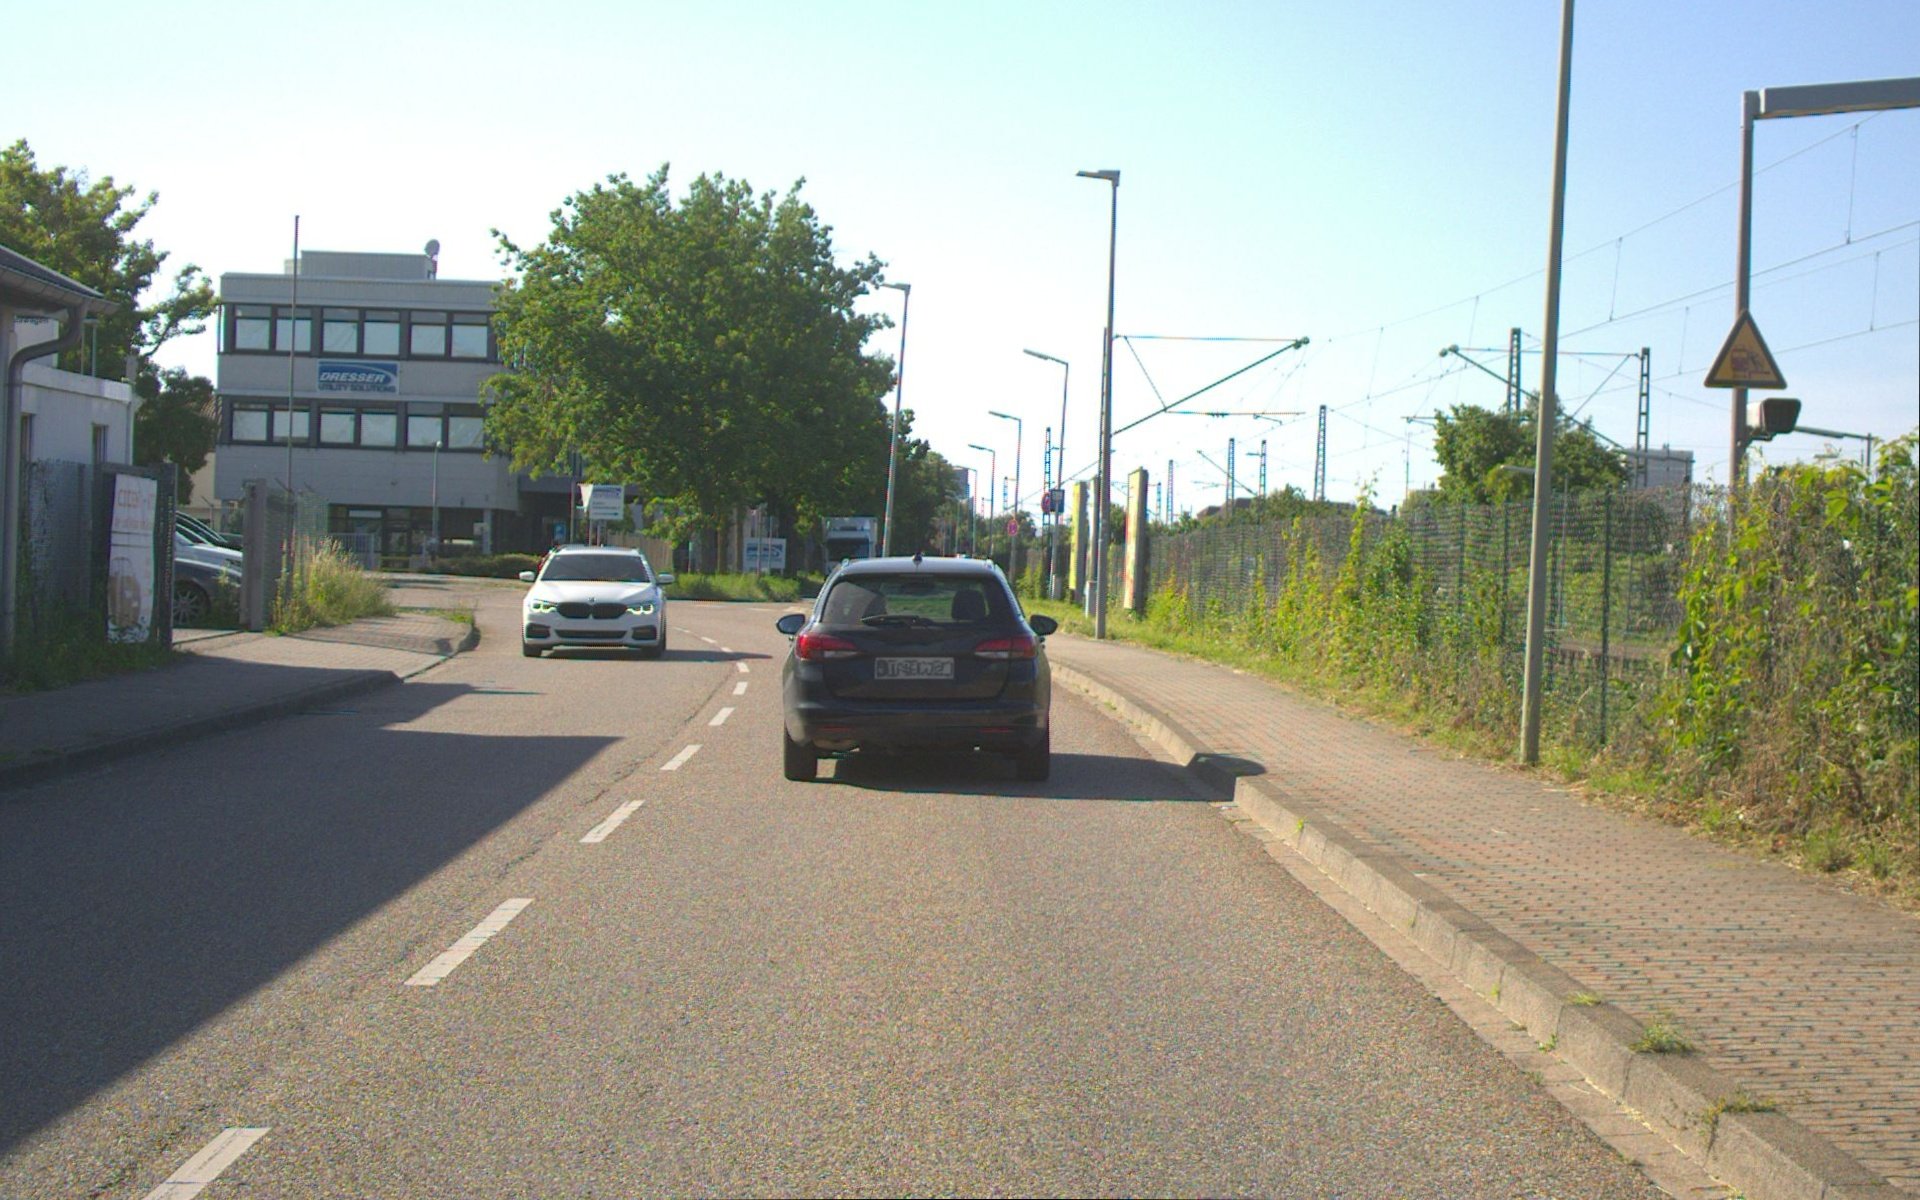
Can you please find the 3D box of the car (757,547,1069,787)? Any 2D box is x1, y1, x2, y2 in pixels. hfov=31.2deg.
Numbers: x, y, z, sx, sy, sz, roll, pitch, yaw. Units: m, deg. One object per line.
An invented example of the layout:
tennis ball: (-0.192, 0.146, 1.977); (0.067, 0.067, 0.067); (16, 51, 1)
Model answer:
car: (-0.337, 0.392, 23.815); (1.942, 1.483, 4.566); (1, 1, -1)

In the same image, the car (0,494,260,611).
car: (-12.908, -0.733, 52.185); (4.388, 1.643, 1.841); (2, 1, -11)

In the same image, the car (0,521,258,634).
car: (-12.417, -0.348, 49.696); (4.388, 1.501, 1.841); (2, 1, -11)

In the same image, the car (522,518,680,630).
car: (-4.935, -0.385, 47.778); (1.808, 1.473, 4.688); (0, 1, -1)

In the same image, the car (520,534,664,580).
car: (-13.439, -1.576, 125.790); (4.911, 1.479, 2.000); (2, 2, 4)

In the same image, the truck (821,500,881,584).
truck: (-5.468, -2.863, 170.318); (2.613, 3.872, 13.534); (3, 1, -3)
